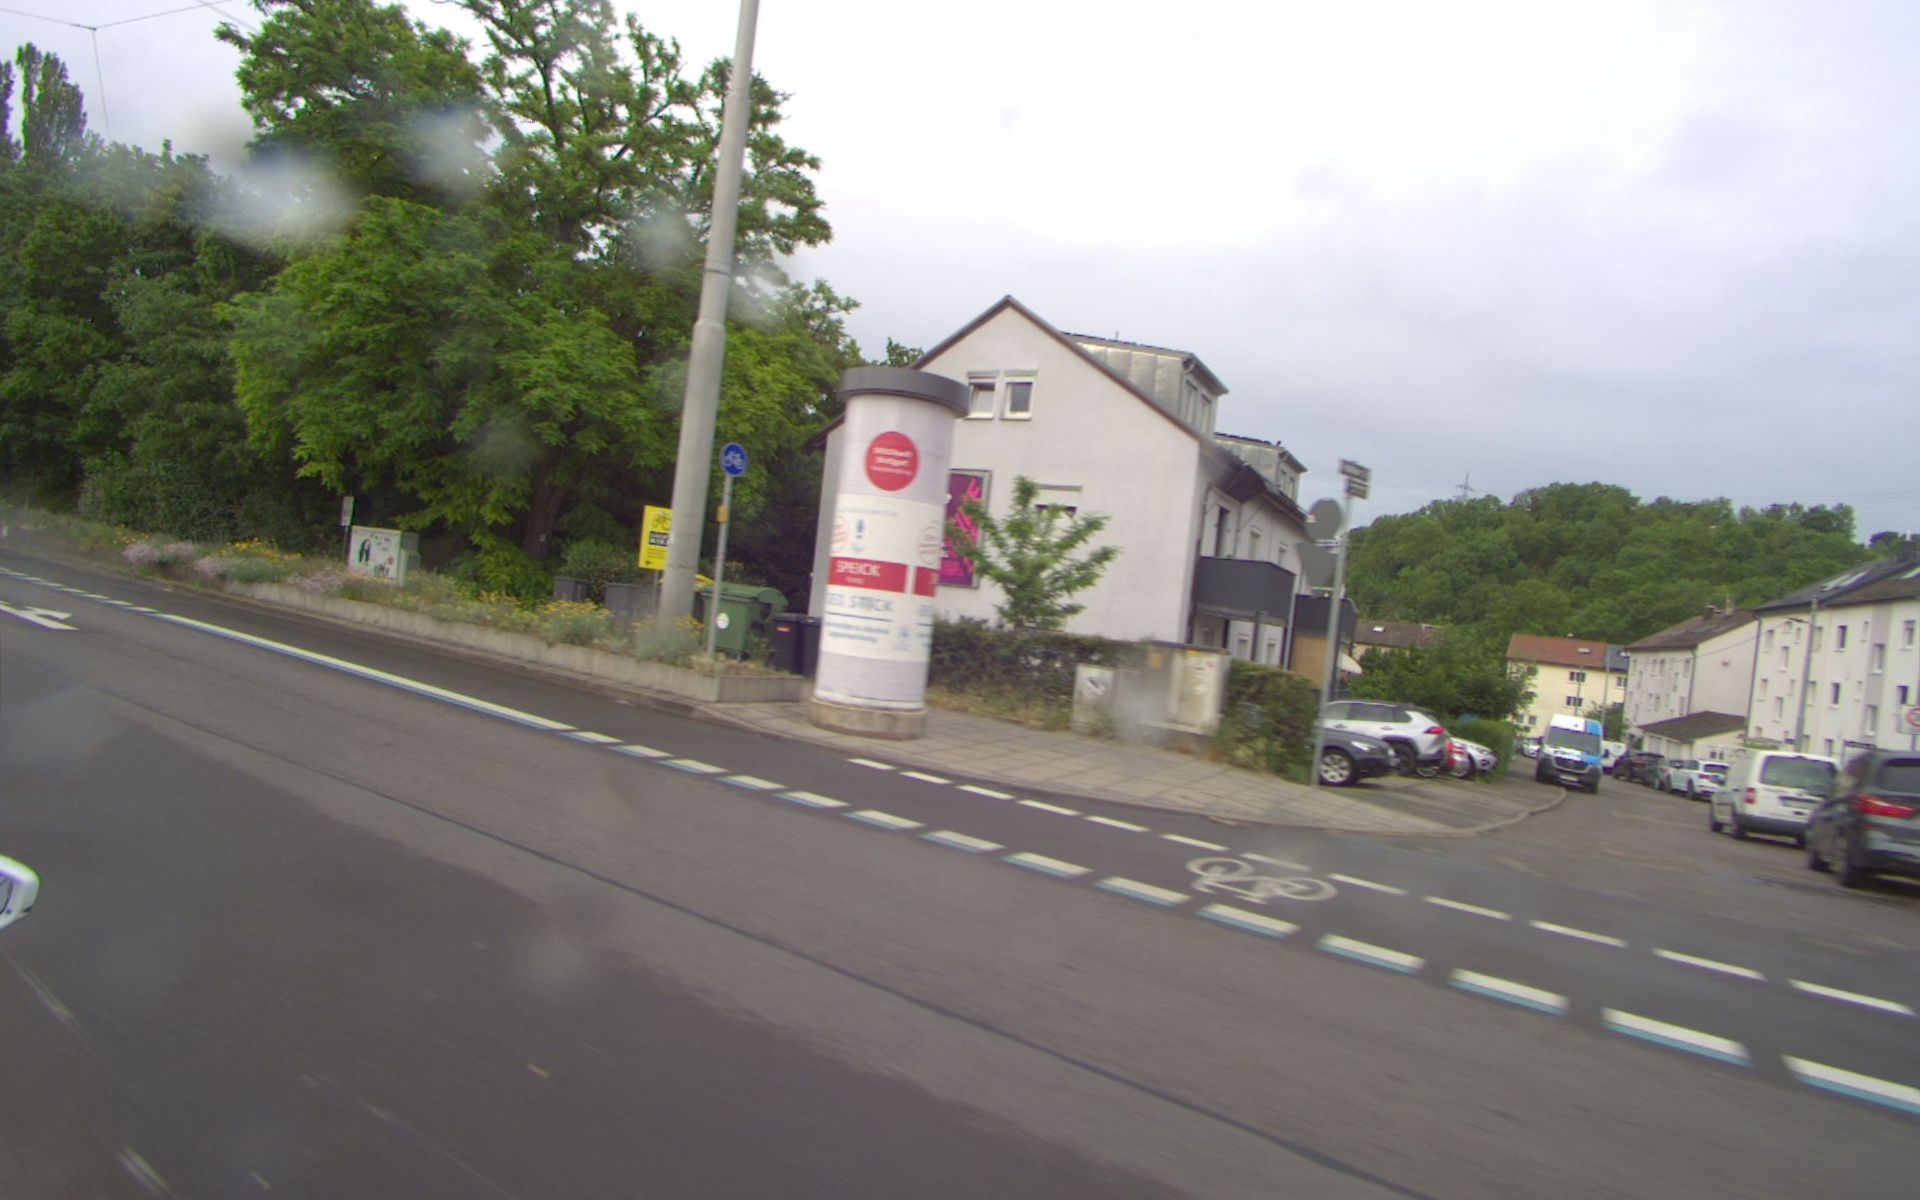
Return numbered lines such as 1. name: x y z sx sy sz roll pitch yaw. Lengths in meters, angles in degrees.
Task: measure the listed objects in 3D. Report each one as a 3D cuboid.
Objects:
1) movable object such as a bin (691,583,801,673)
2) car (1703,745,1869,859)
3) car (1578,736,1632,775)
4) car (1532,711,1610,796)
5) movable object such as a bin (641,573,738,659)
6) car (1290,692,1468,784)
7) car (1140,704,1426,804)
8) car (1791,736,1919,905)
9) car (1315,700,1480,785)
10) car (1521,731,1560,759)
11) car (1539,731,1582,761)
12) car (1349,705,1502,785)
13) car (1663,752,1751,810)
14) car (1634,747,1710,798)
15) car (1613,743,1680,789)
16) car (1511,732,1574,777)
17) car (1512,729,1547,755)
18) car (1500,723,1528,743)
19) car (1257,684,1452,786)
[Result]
1. movable object such as a bin: -3.898 0.522 18.391 1.278 1.434 1.314 5 -2 29
2. car: 16.770 4.020 20.650 1.848 1.814 4.286 5 -5 31
3. car: 37.532 9.014 58.643 1.800 1.703 4.242 7 -2 24
4. car: 22.920 5.658 37.730 2.104 2.636 5.263 7 -2 32
5. movable object such as a bin: -5.059 0.307 18.856 1.115 1.434 1.187 5 -2 29
6. car: 10.818 3.500 26.016 3.931 1.556 1.757 9 0 29
7. car: 5.792 2.693 18.226 4.654 1.405 1.755 -1 -5 32
8. car: 11.524 2.649 12.119 1.850 1.673 4.281 5 -5 35
9. car: 12.192 3.905 28.068 3.931 1.556 1.757 9 0 29
10. car: 45.501 11.334 78.925 1.799 1.703 4.243 7 -2 22
11. car: 43.947 10.657 73.703 1.799 1.703 4.243 7 -2 22
12. car: 14.114 4.335 30.528 3.931 1.602 1.757 9 0 29
13. car: 30.334 7.301 40.998 1.800 1.703 4.242 7 -2 24
14. car: 32.367 7.780 45.836 1.800 1.703 4.242 7 -2 24
15. car: 34.032 8.188 49.982 1.800 1.703 4.242 7 -2 24
16. car: 30.443 8.055 52.705 2.100 1.732 4.406 7 -2 22
17. car: 47.767 11.907 84.468 1.799 1.703 4.243 7 -2 22
18. car: 57.386 13.767 104.286 1.799 1.703 4.243 7 -2 22
19. car: 9.266 3.098 23.683 3.931 1.622 1.757 8 -1 29
